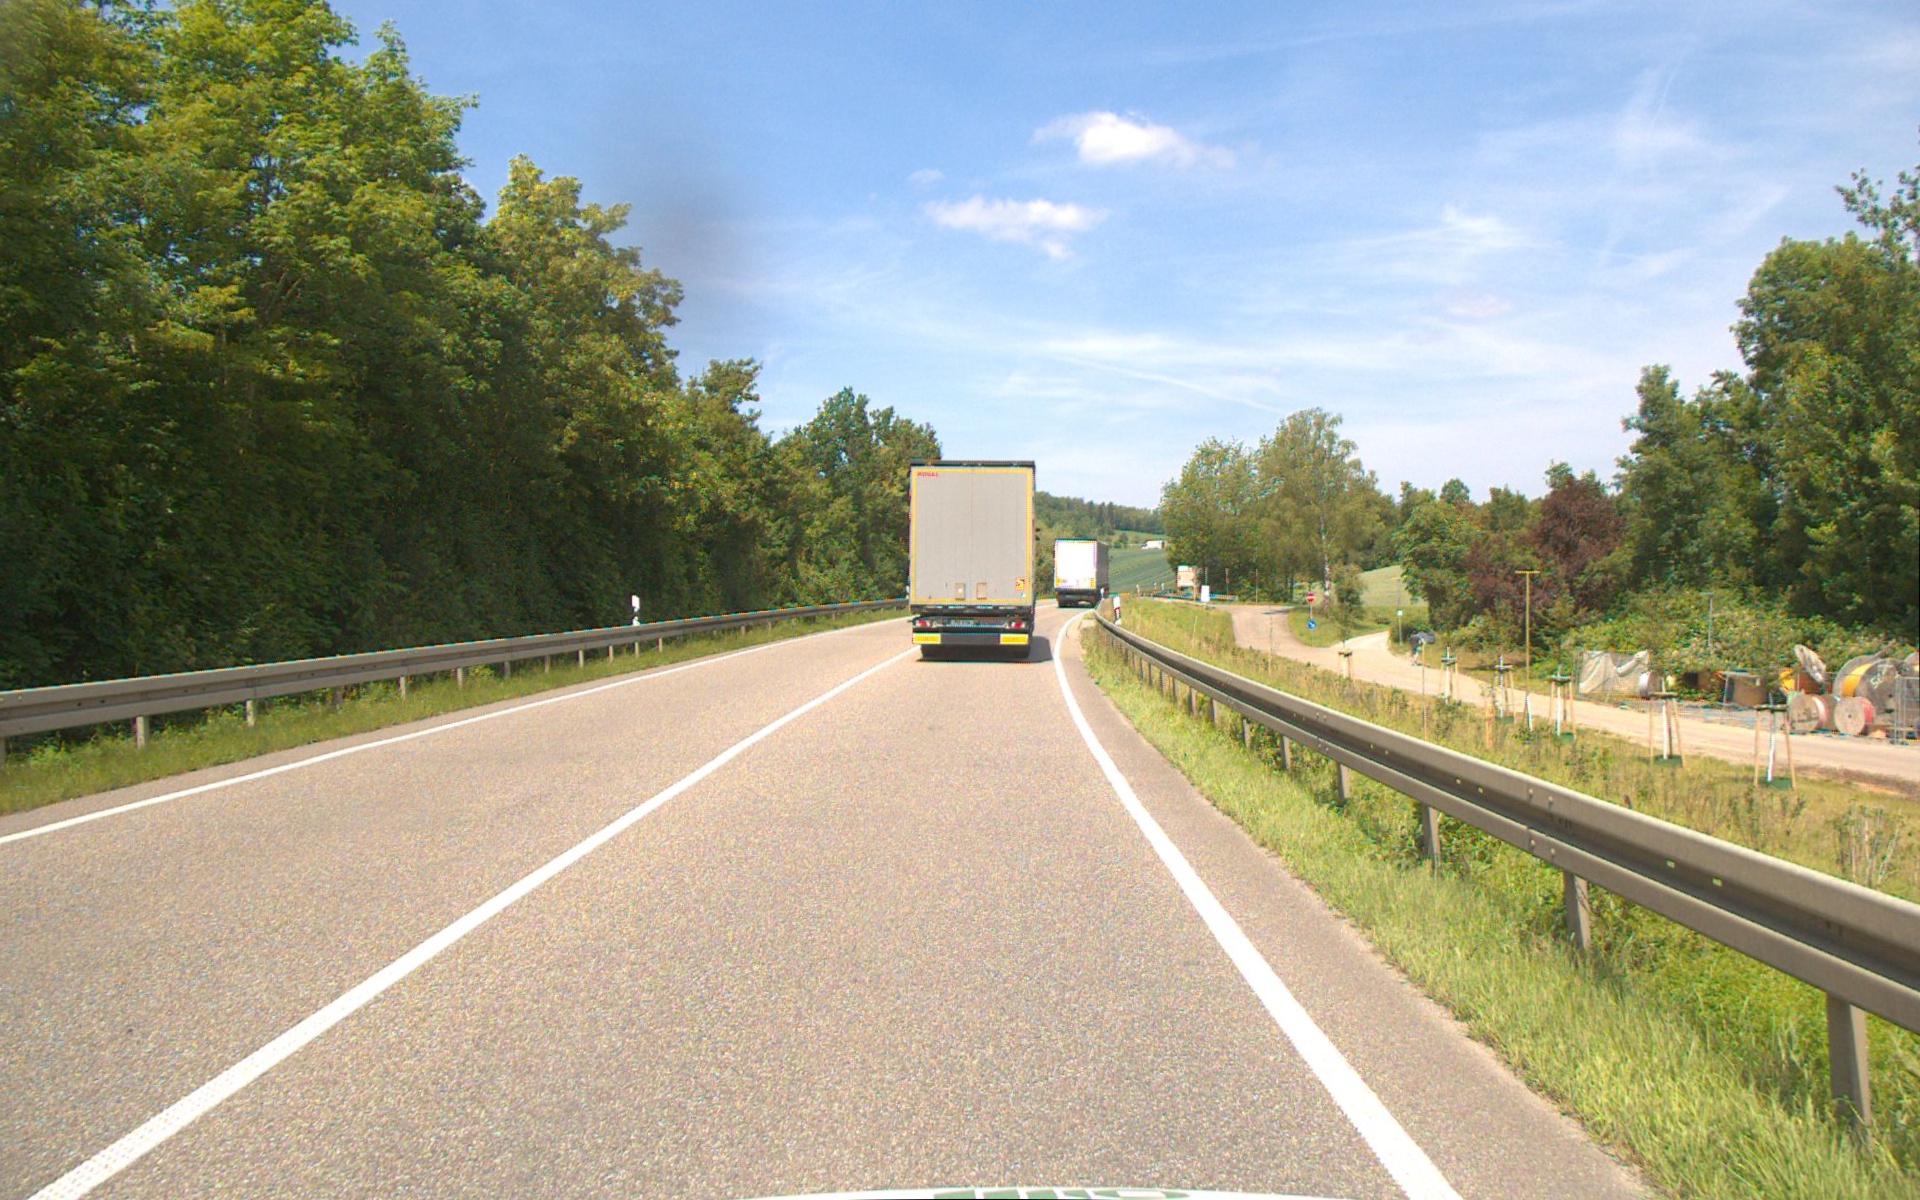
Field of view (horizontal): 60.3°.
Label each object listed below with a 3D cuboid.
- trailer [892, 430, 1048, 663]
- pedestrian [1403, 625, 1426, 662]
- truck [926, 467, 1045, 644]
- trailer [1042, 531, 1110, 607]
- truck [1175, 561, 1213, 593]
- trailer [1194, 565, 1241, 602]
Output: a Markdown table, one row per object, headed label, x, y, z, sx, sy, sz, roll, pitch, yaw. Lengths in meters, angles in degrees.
| label | x | y | z | sx | sy | sz | roll | pitch | yaw |
| --- | --- | --- | --- | --- | --- | --- | --- | --- | --- |
| trailer | 0.510 | -1.119 | 39.720 | 3.053 | 4.578 | 13.891 | 0 | 0 | 3 |
| pedestrian | 24.030 | 2.301 | 87.382 | 0.867 | 1.842 | 0.959 | -2 | 1 | -2 |
| truck | 0.821 | -1.191 | 46.335 | 3.053 | 4.573 | 6.813 | 0 | 0 | 3 |
| trailer | 7.494 | -1.795 | 104.789 | 3.293 | 4.392 | 13.874 | 0 | -1 | 8 |
| truck | 26.621 | -2.531 | 187.611 | 3.154 | 3.424 | 11.884 | 0 | -1 | 14 |
| trailer | 32.347 | -1.971 | 207.334 | 3.572 | 4.337 | 12.197 | 0 | -1 | 20 |
